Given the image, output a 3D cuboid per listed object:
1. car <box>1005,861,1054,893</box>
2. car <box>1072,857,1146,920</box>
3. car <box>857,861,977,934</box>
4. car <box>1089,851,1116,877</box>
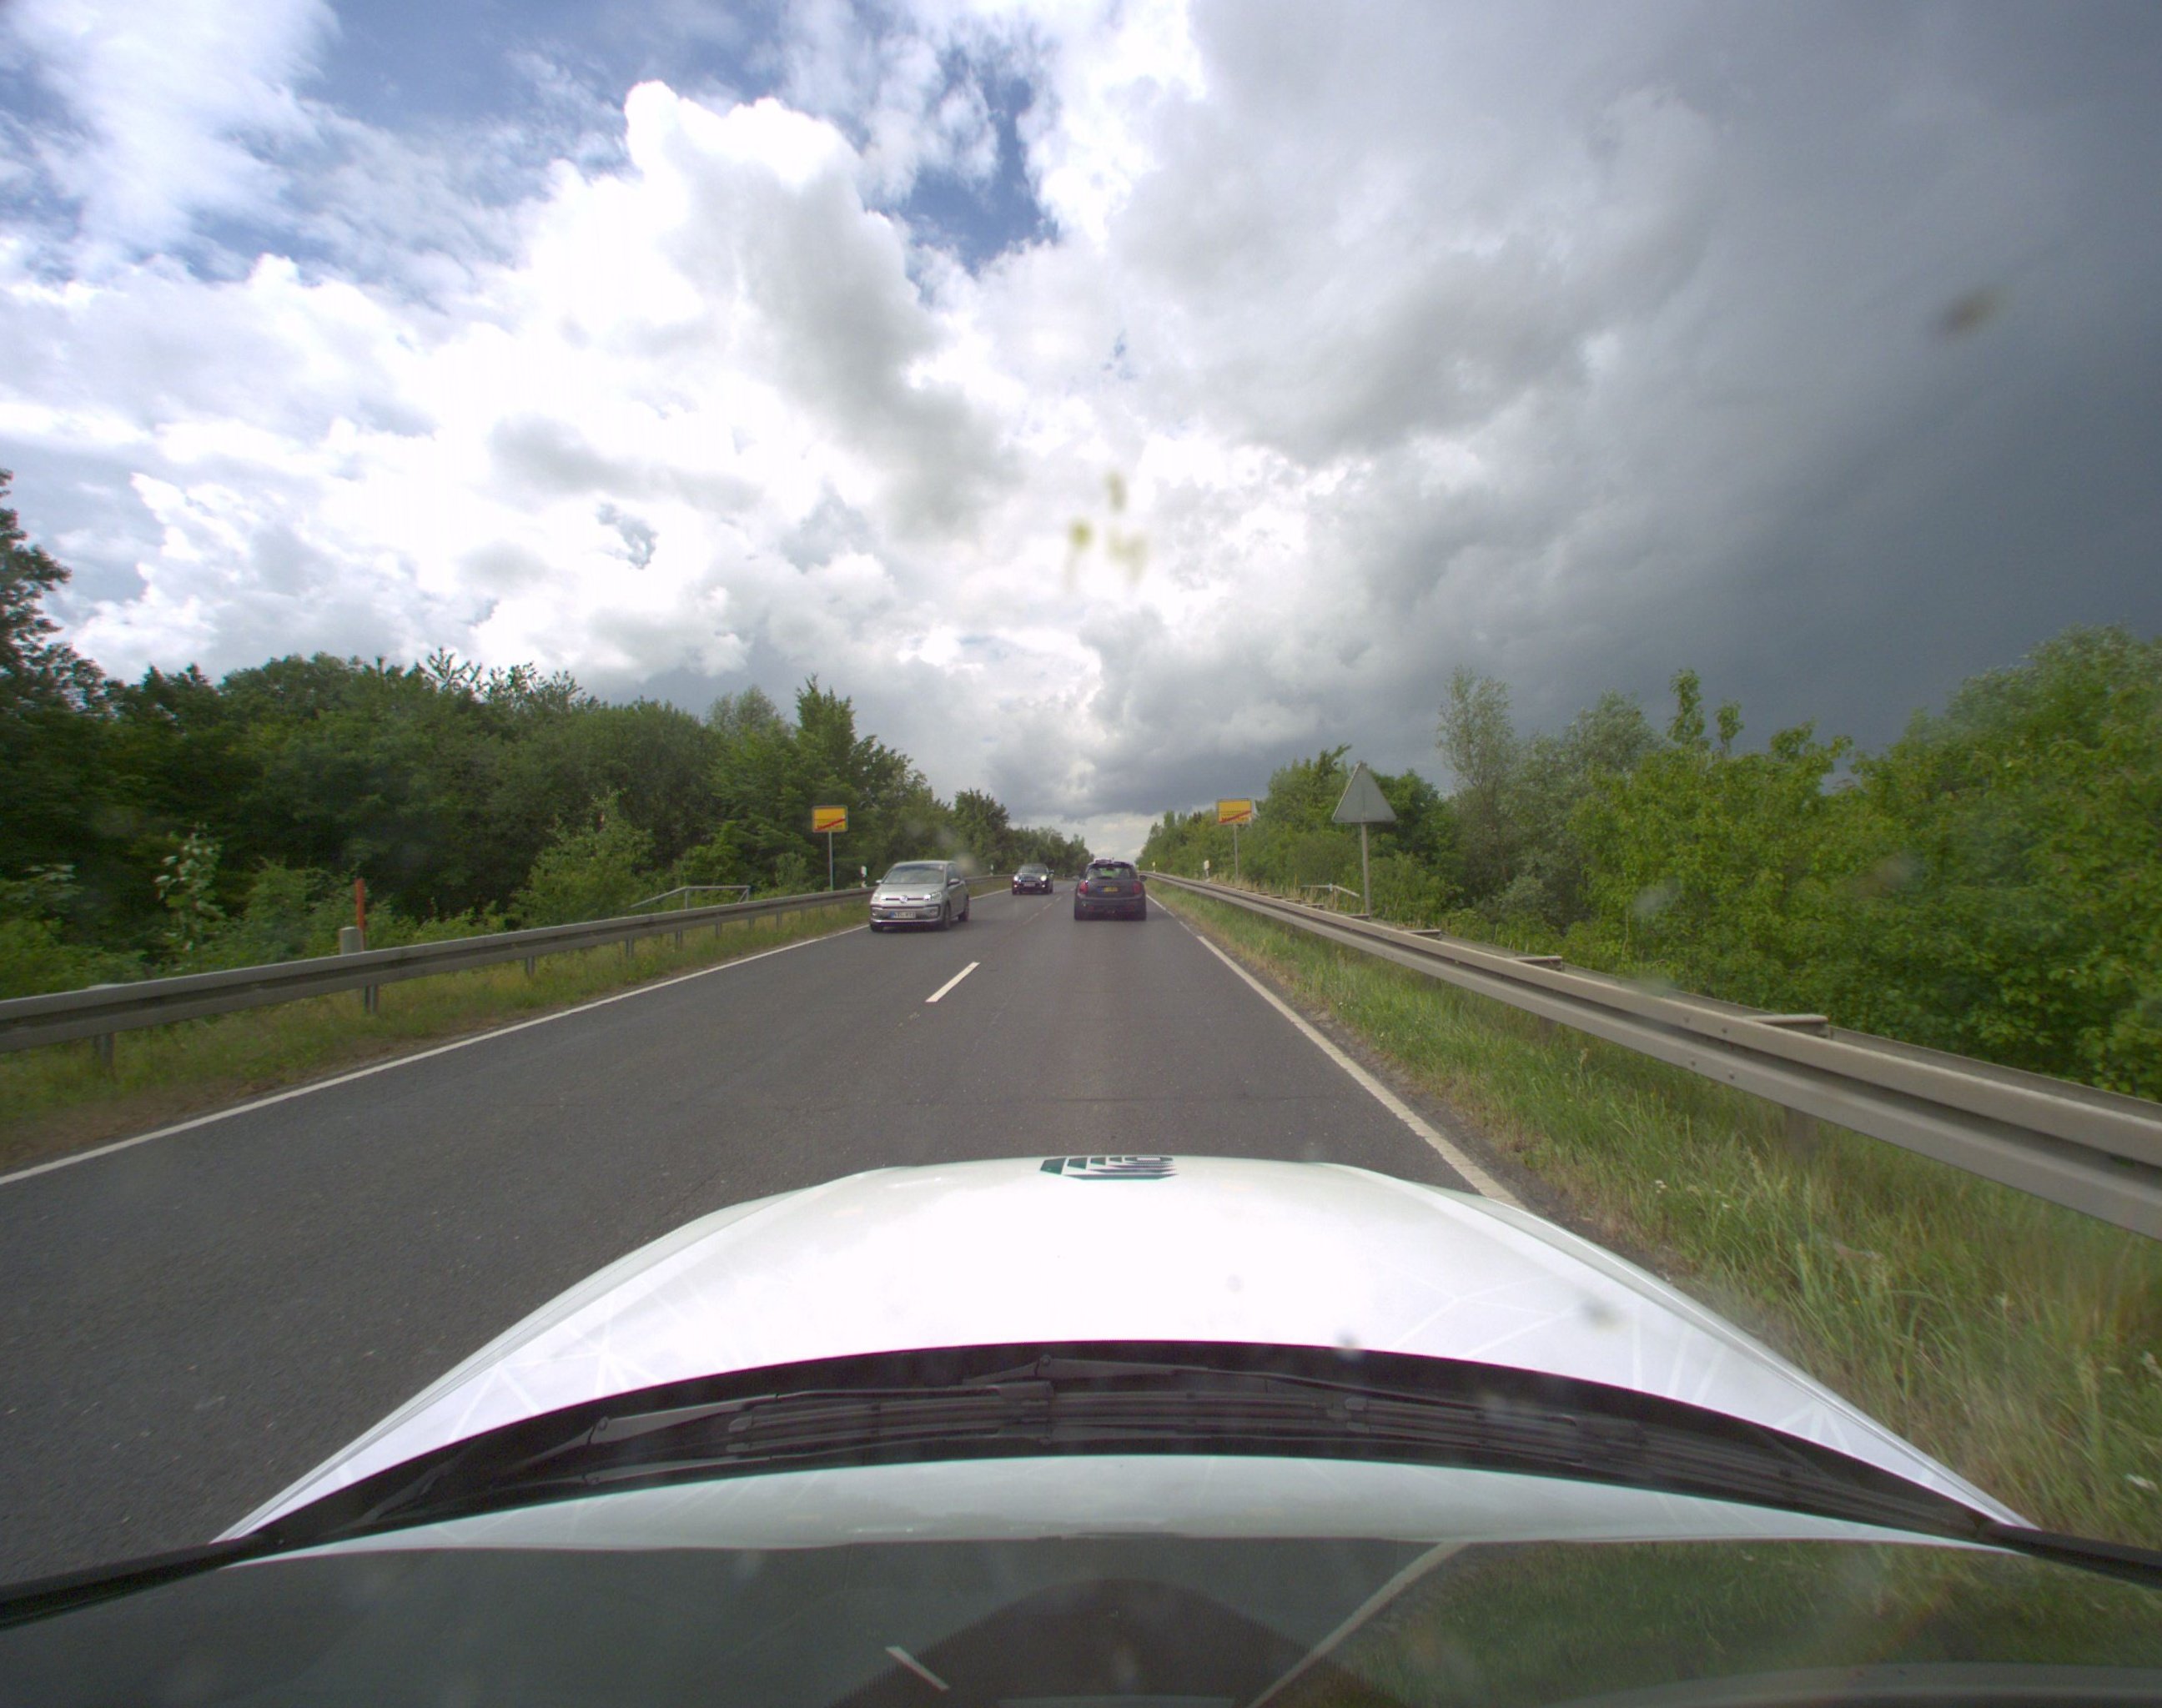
[{"bbox_3d":[-2.348,1.040,38.377,1.828,1.420,4.003,-1,-1,3],"label":"car"},{"bbox_3d":[0.777,0.826,21.022,1.725,1.456,4.003,0,-1,3],"label":"car"},{"bbox_3d":[-3.594,0.902,18.547,1.829,1.445,4.000,-1,-1,1],"label":"car"},{"bbox_3d":[1.811,0.828,67.255,2.014,2.013,4.003,-2,-1,3],"label":"car"}]
